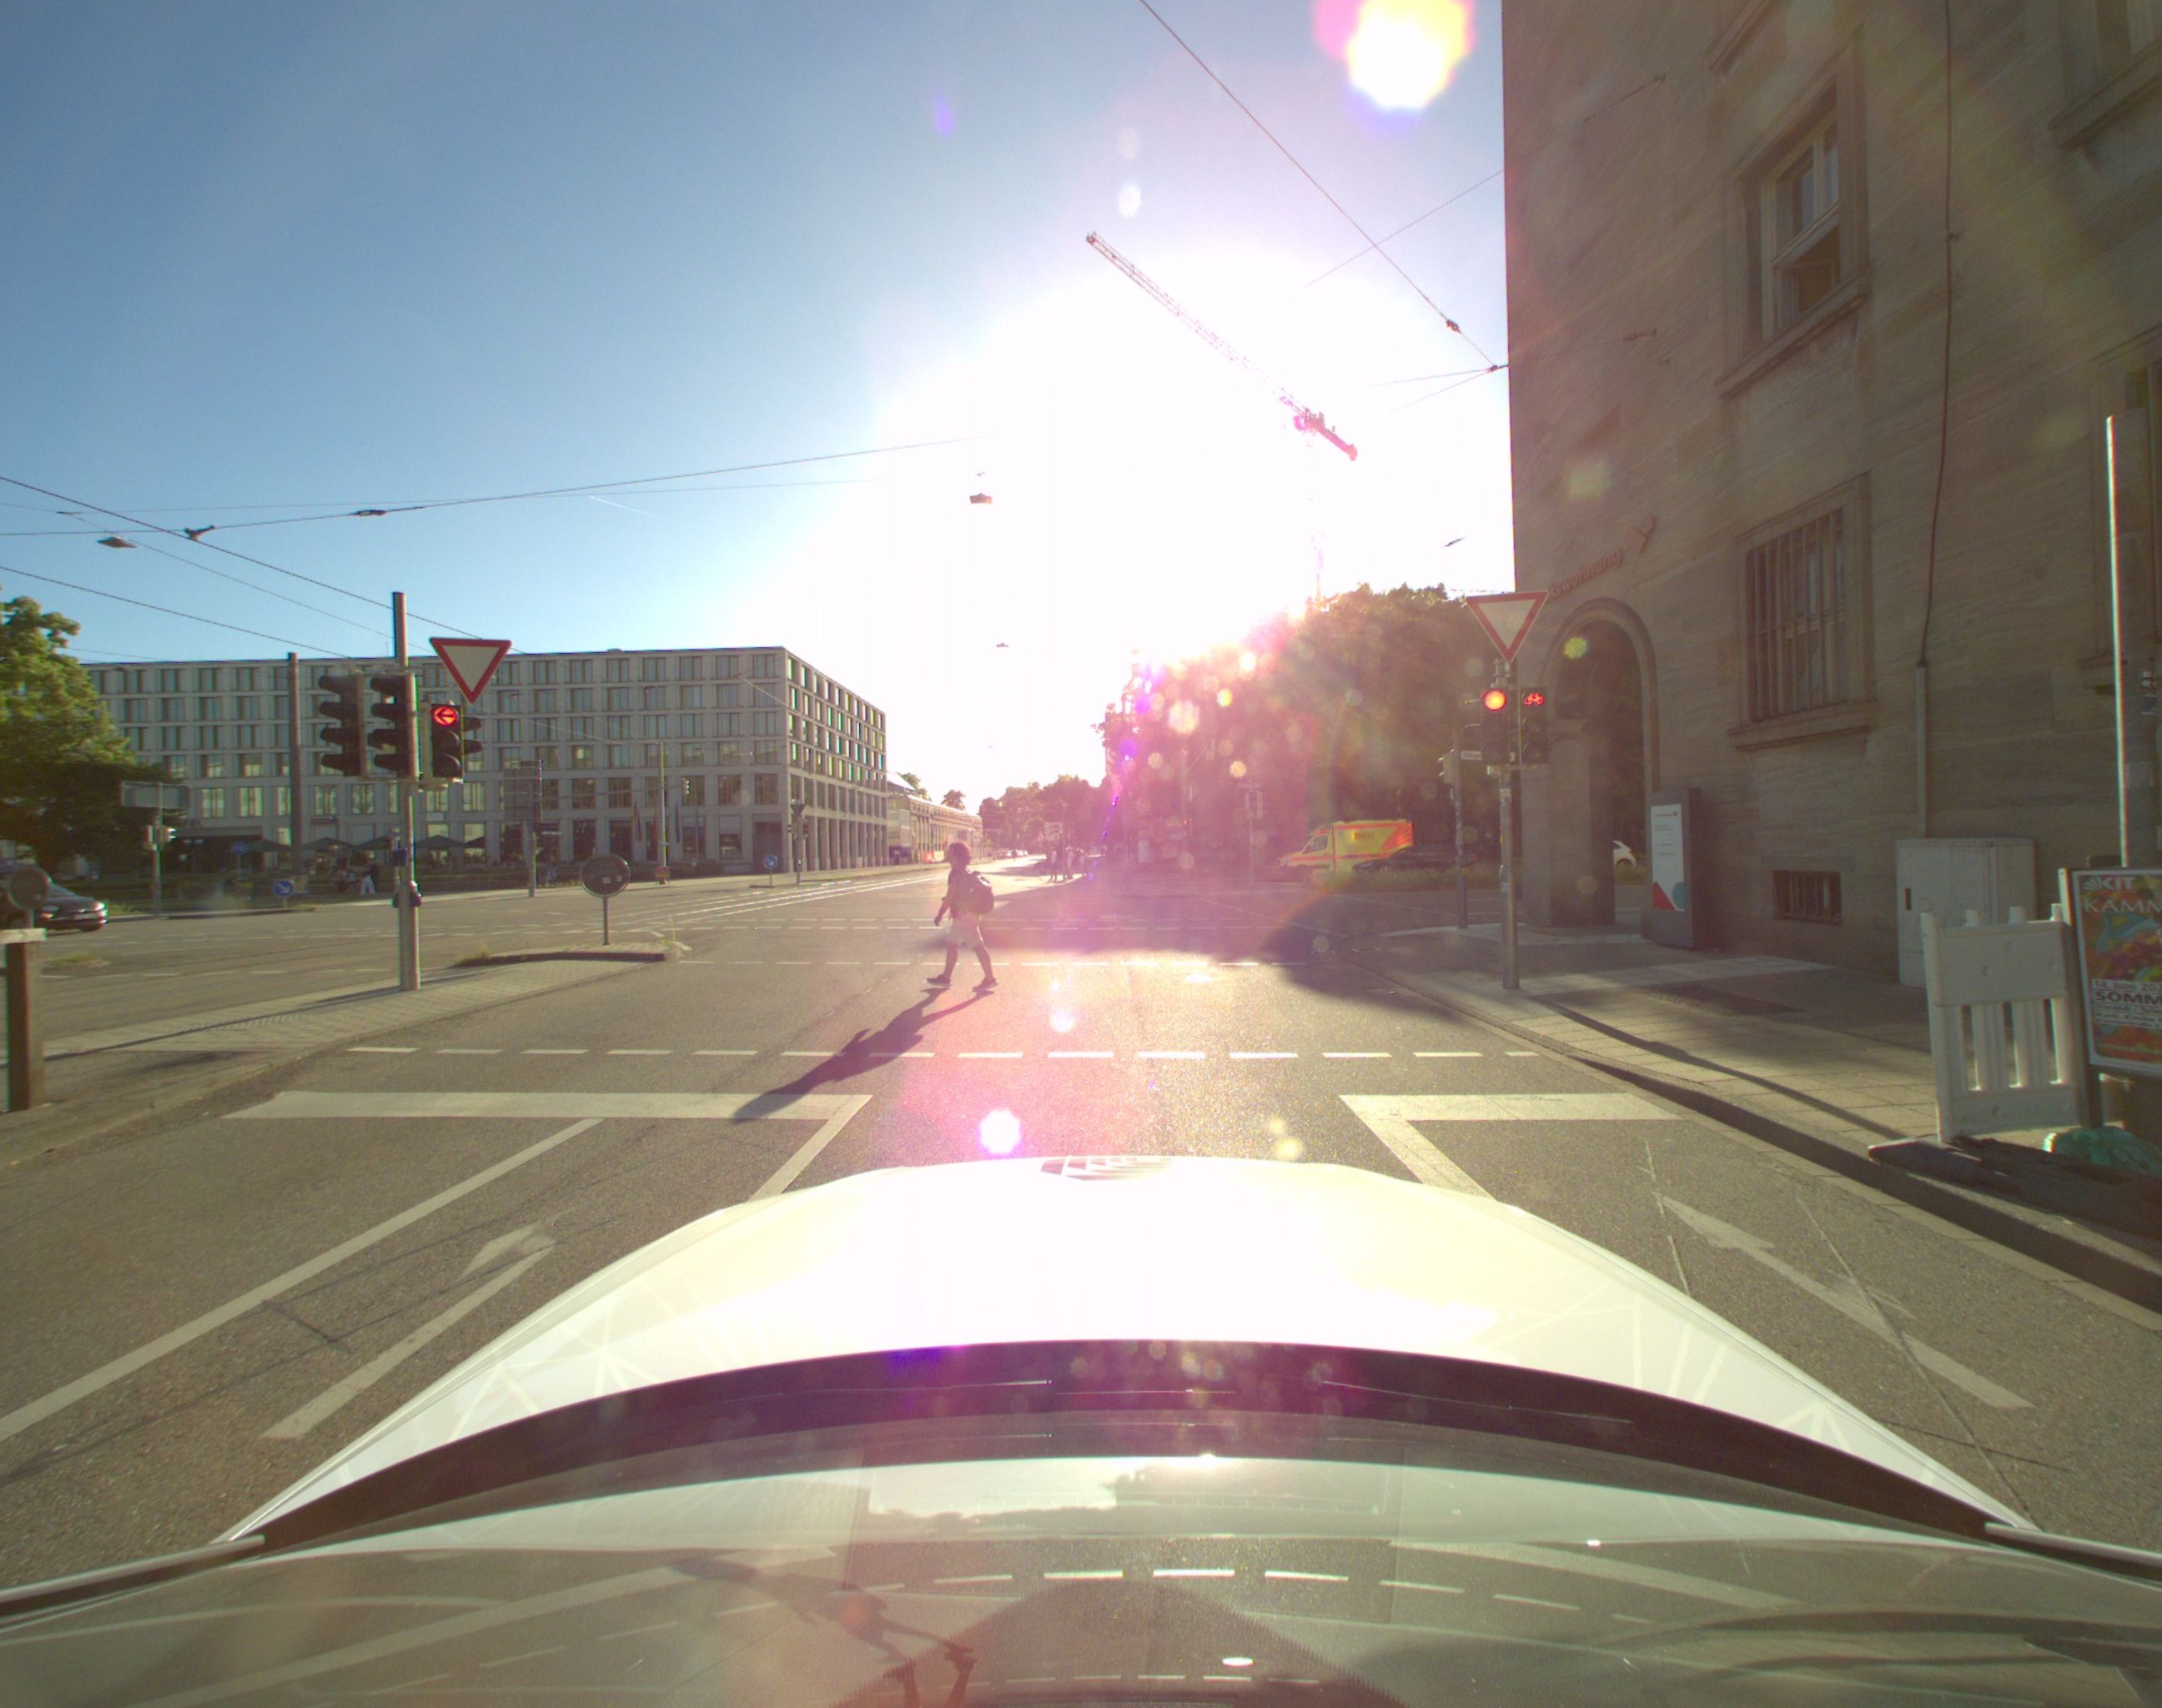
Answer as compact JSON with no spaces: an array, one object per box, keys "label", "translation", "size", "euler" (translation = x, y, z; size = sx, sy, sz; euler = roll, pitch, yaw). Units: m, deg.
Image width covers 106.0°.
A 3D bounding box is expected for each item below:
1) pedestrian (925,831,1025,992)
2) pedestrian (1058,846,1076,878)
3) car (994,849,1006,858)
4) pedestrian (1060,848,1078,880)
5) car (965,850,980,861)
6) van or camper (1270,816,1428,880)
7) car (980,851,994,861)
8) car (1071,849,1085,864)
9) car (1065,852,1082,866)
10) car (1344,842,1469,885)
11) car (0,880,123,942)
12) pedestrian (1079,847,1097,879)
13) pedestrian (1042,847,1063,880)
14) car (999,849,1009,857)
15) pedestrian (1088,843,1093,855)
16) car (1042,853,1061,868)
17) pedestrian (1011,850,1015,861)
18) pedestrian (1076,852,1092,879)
[{"label":"pedestrian","translation":[-1.238,0.624,9.416],"size":[1.039,1.721,1.032],"euler":[-2,0,-10]},{"label":"pedestrian","translation":[-0.815,0.463,47.390],"size":[0.849,1.784,0.776],"euler":[-2,0,-15]},{"label":"car","translation":[-15.509,-0.108,156.564],"size":[1.812,1.712,3.807],"euler":[-2,0,2]},{"label":"pedestrian","translation":[-0.691,0.546,46.592],"size":[0.849,1.784,0.776],"euler":[-2,0,-15]},{"label":"car","translation":[-17.798,0.279,134.104],"size":[1.812,1.712,3.807],"euler":[-2,0,2]},{"label":"van or camper","translation":[12.500,-0.263,38.505],"size":[6.674,2.862,2.915],"euler":[0,-1,6]},{"label":"car","translation":[-16.706,0.353,144.983],"size":[1.812,1.712,3.807],"euler":[-2,0,2]},{"label":"car","translation":[-0.358,0.327,107.822],"size":[1.678,1.962,3.510],"euler":[0,-1,2]},{"label":"car","translation":[-0.825,0.600,92.203],"size":[1.678,1.501,3.510],"euler":[0,-1,2]},{"label":"car","translation":[13.023,0.386,32.761],"size":[4.297,1.647,1.889],"euler":[0,-1,2]},{"label":"car","translation":[-28.089,1.506,21.579],"size":[3.519,1.506,1.522],"euler":[-1,0,-1]},{"label":"pedestrian","translation":[0.388,0.512,45.845],"size":[0.849,1.784,0.776],"euler":[-2,0,-15]},{"label":"pedestrian","translation":[-1.579,0.519,45.110],"size":[0.967,1.784,0.776],"euler":[-2,0,-15]},{"label":"car","translation":[-15.191,-0.204,160.807],"size":[1.603,1.498,3.807],"euler":[-2,0,2]},{"label":"pedestrian","translation":[2.772,-1.423,246.094],"size":[1.396,3.597,1.568],"euler":[0,-1,1]},{"label":"car","translation":[-2.940,0.698,82.087],"size":[1.678,1.501,3.510],"euler":[0,-1,2]},{"label":"pedestrian","translation":[-9.437,0.263,112.361],"size":[0.522,1.484,0.437],"euler":[0,-1,0]},{"label":"pedestrian","translation":[0.173,0.649,46.677],"size":[0.763,1.558,0.585],"euler":[-2,0,-15]}]
